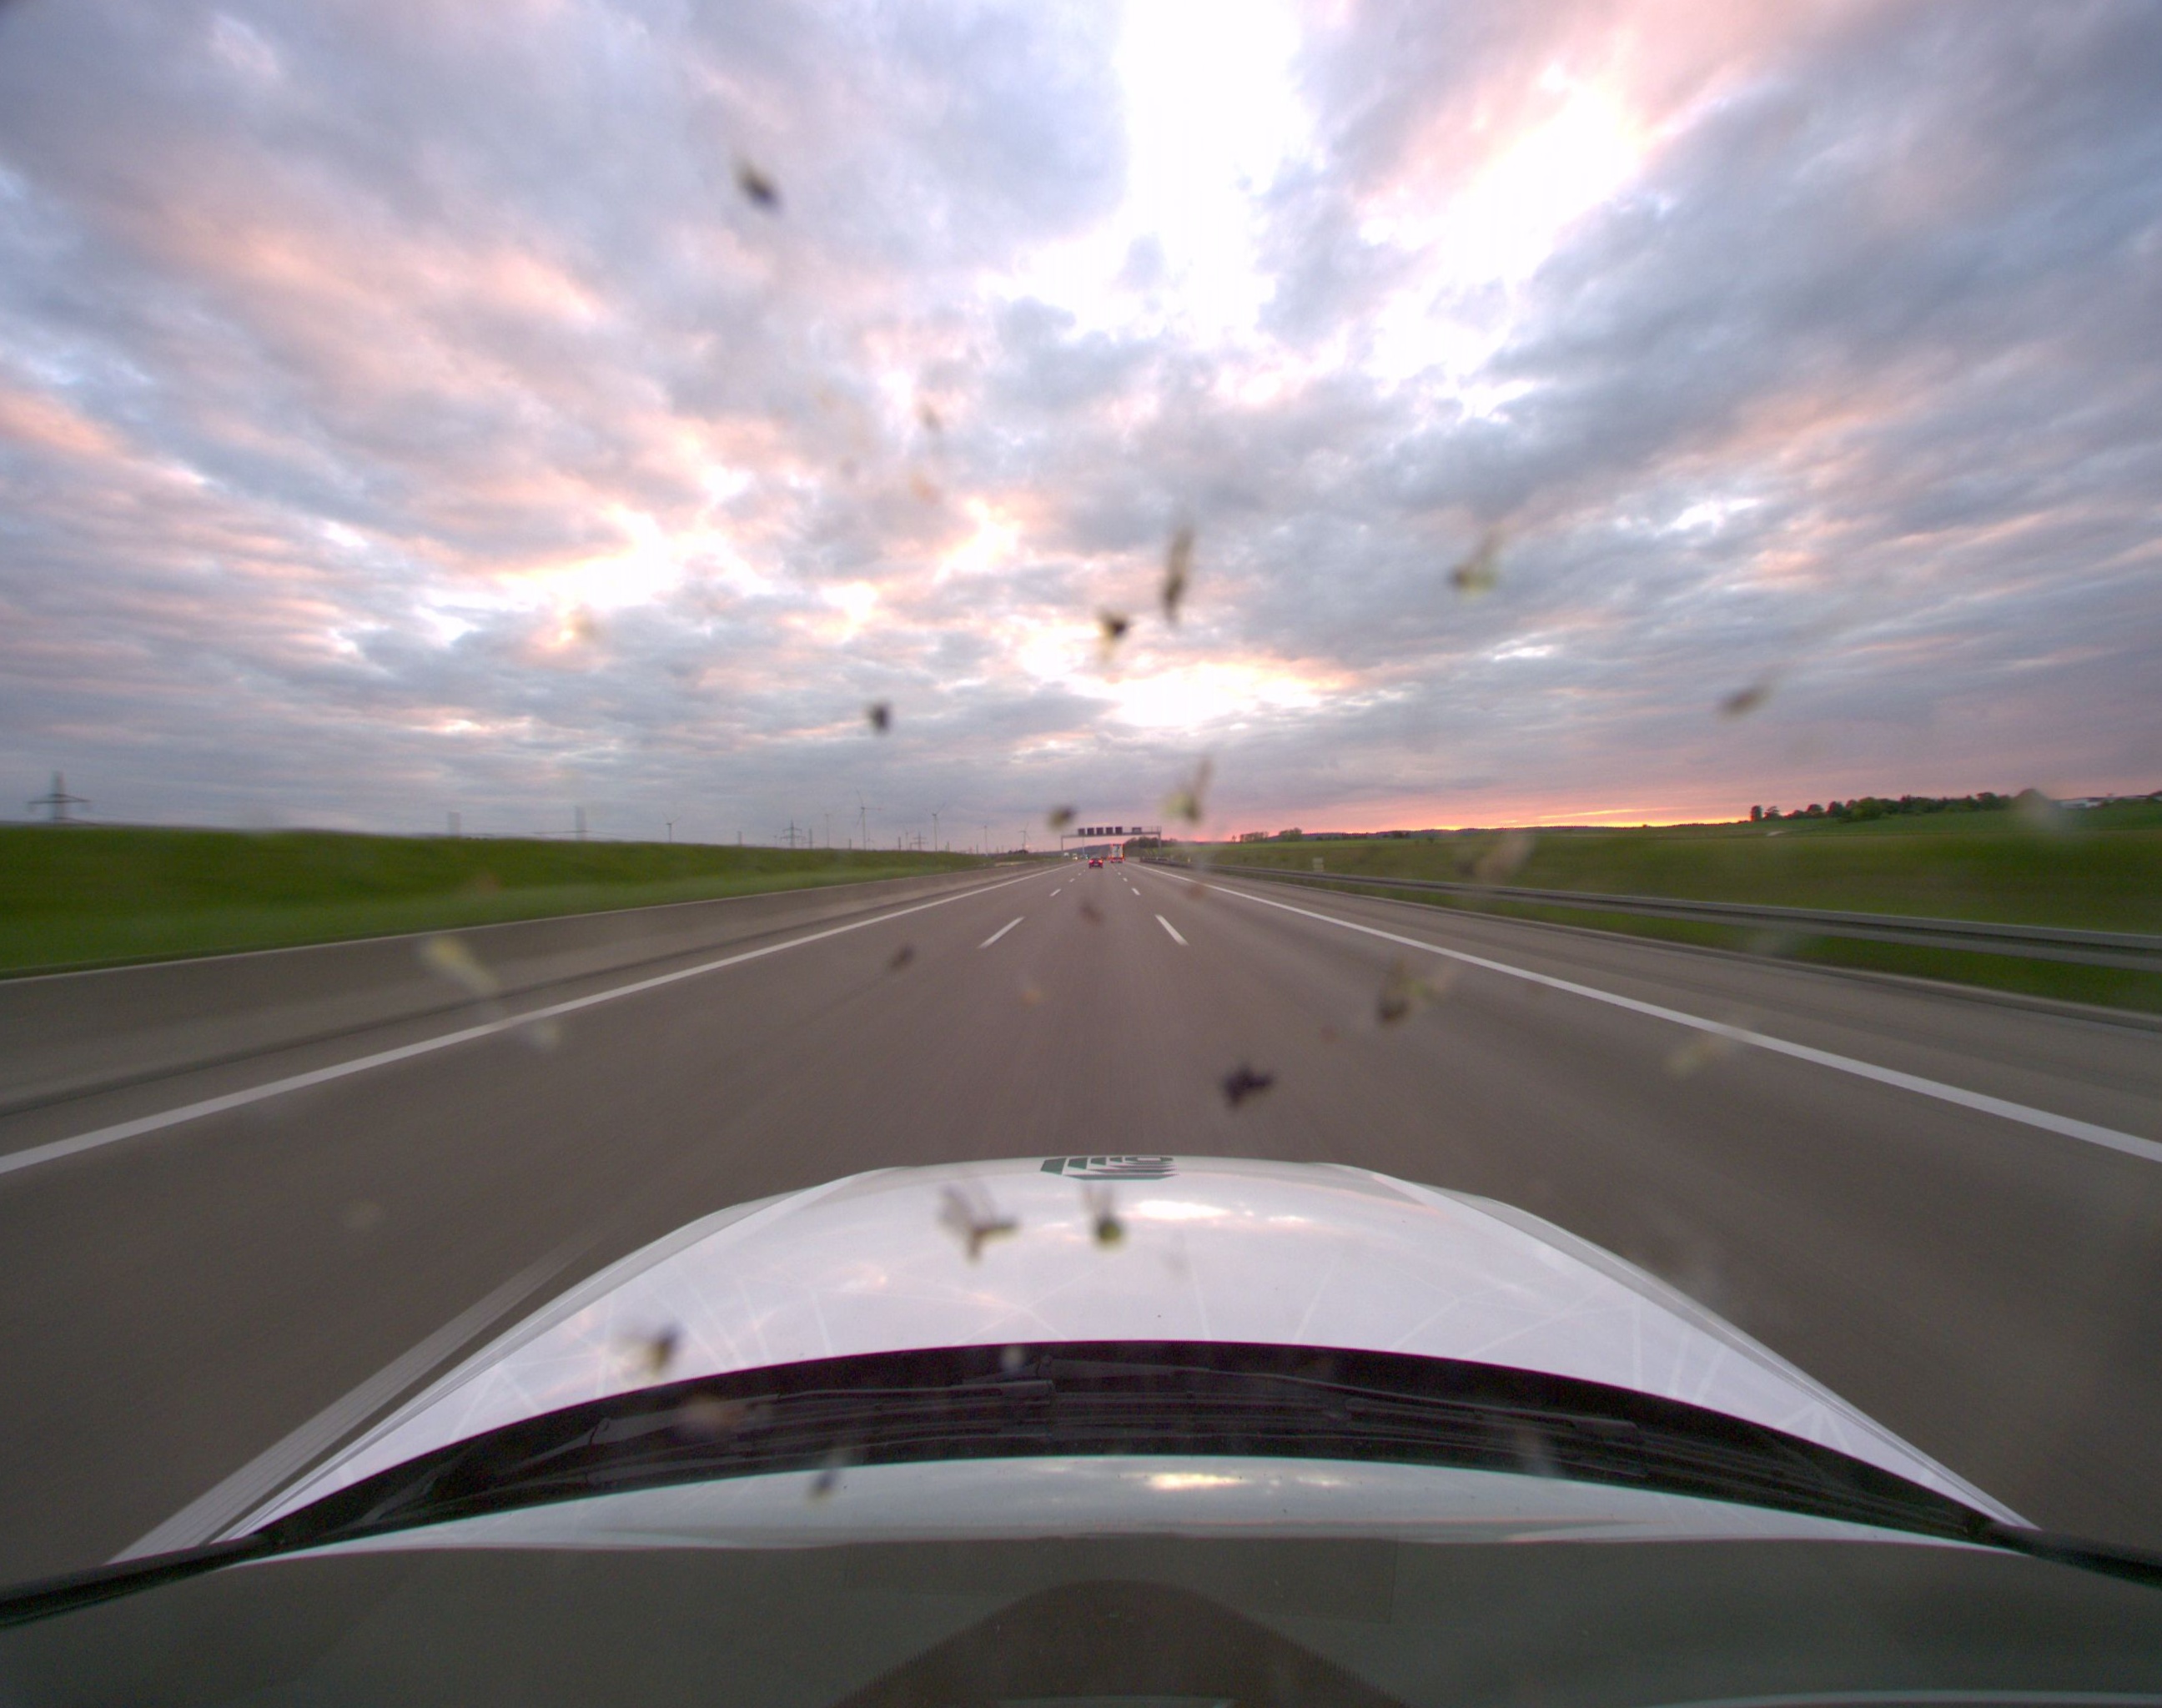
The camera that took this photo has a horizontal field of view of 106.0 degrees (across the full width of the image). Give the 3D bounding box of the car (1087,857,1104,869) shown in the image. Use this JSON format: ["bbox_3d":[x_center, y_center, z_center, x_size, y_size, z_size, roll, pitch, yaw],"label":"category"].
[{"bbox_3d":[1.906,1.117,105.076,1.980,1.429,4.002,-2,0,2],"label":"car"}]

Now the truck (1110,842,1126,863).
[{"bbox_3d":[8.488,-0.338,187.937,3.661,4.565,10.985,-1,0,2],"label":"truck"}]
